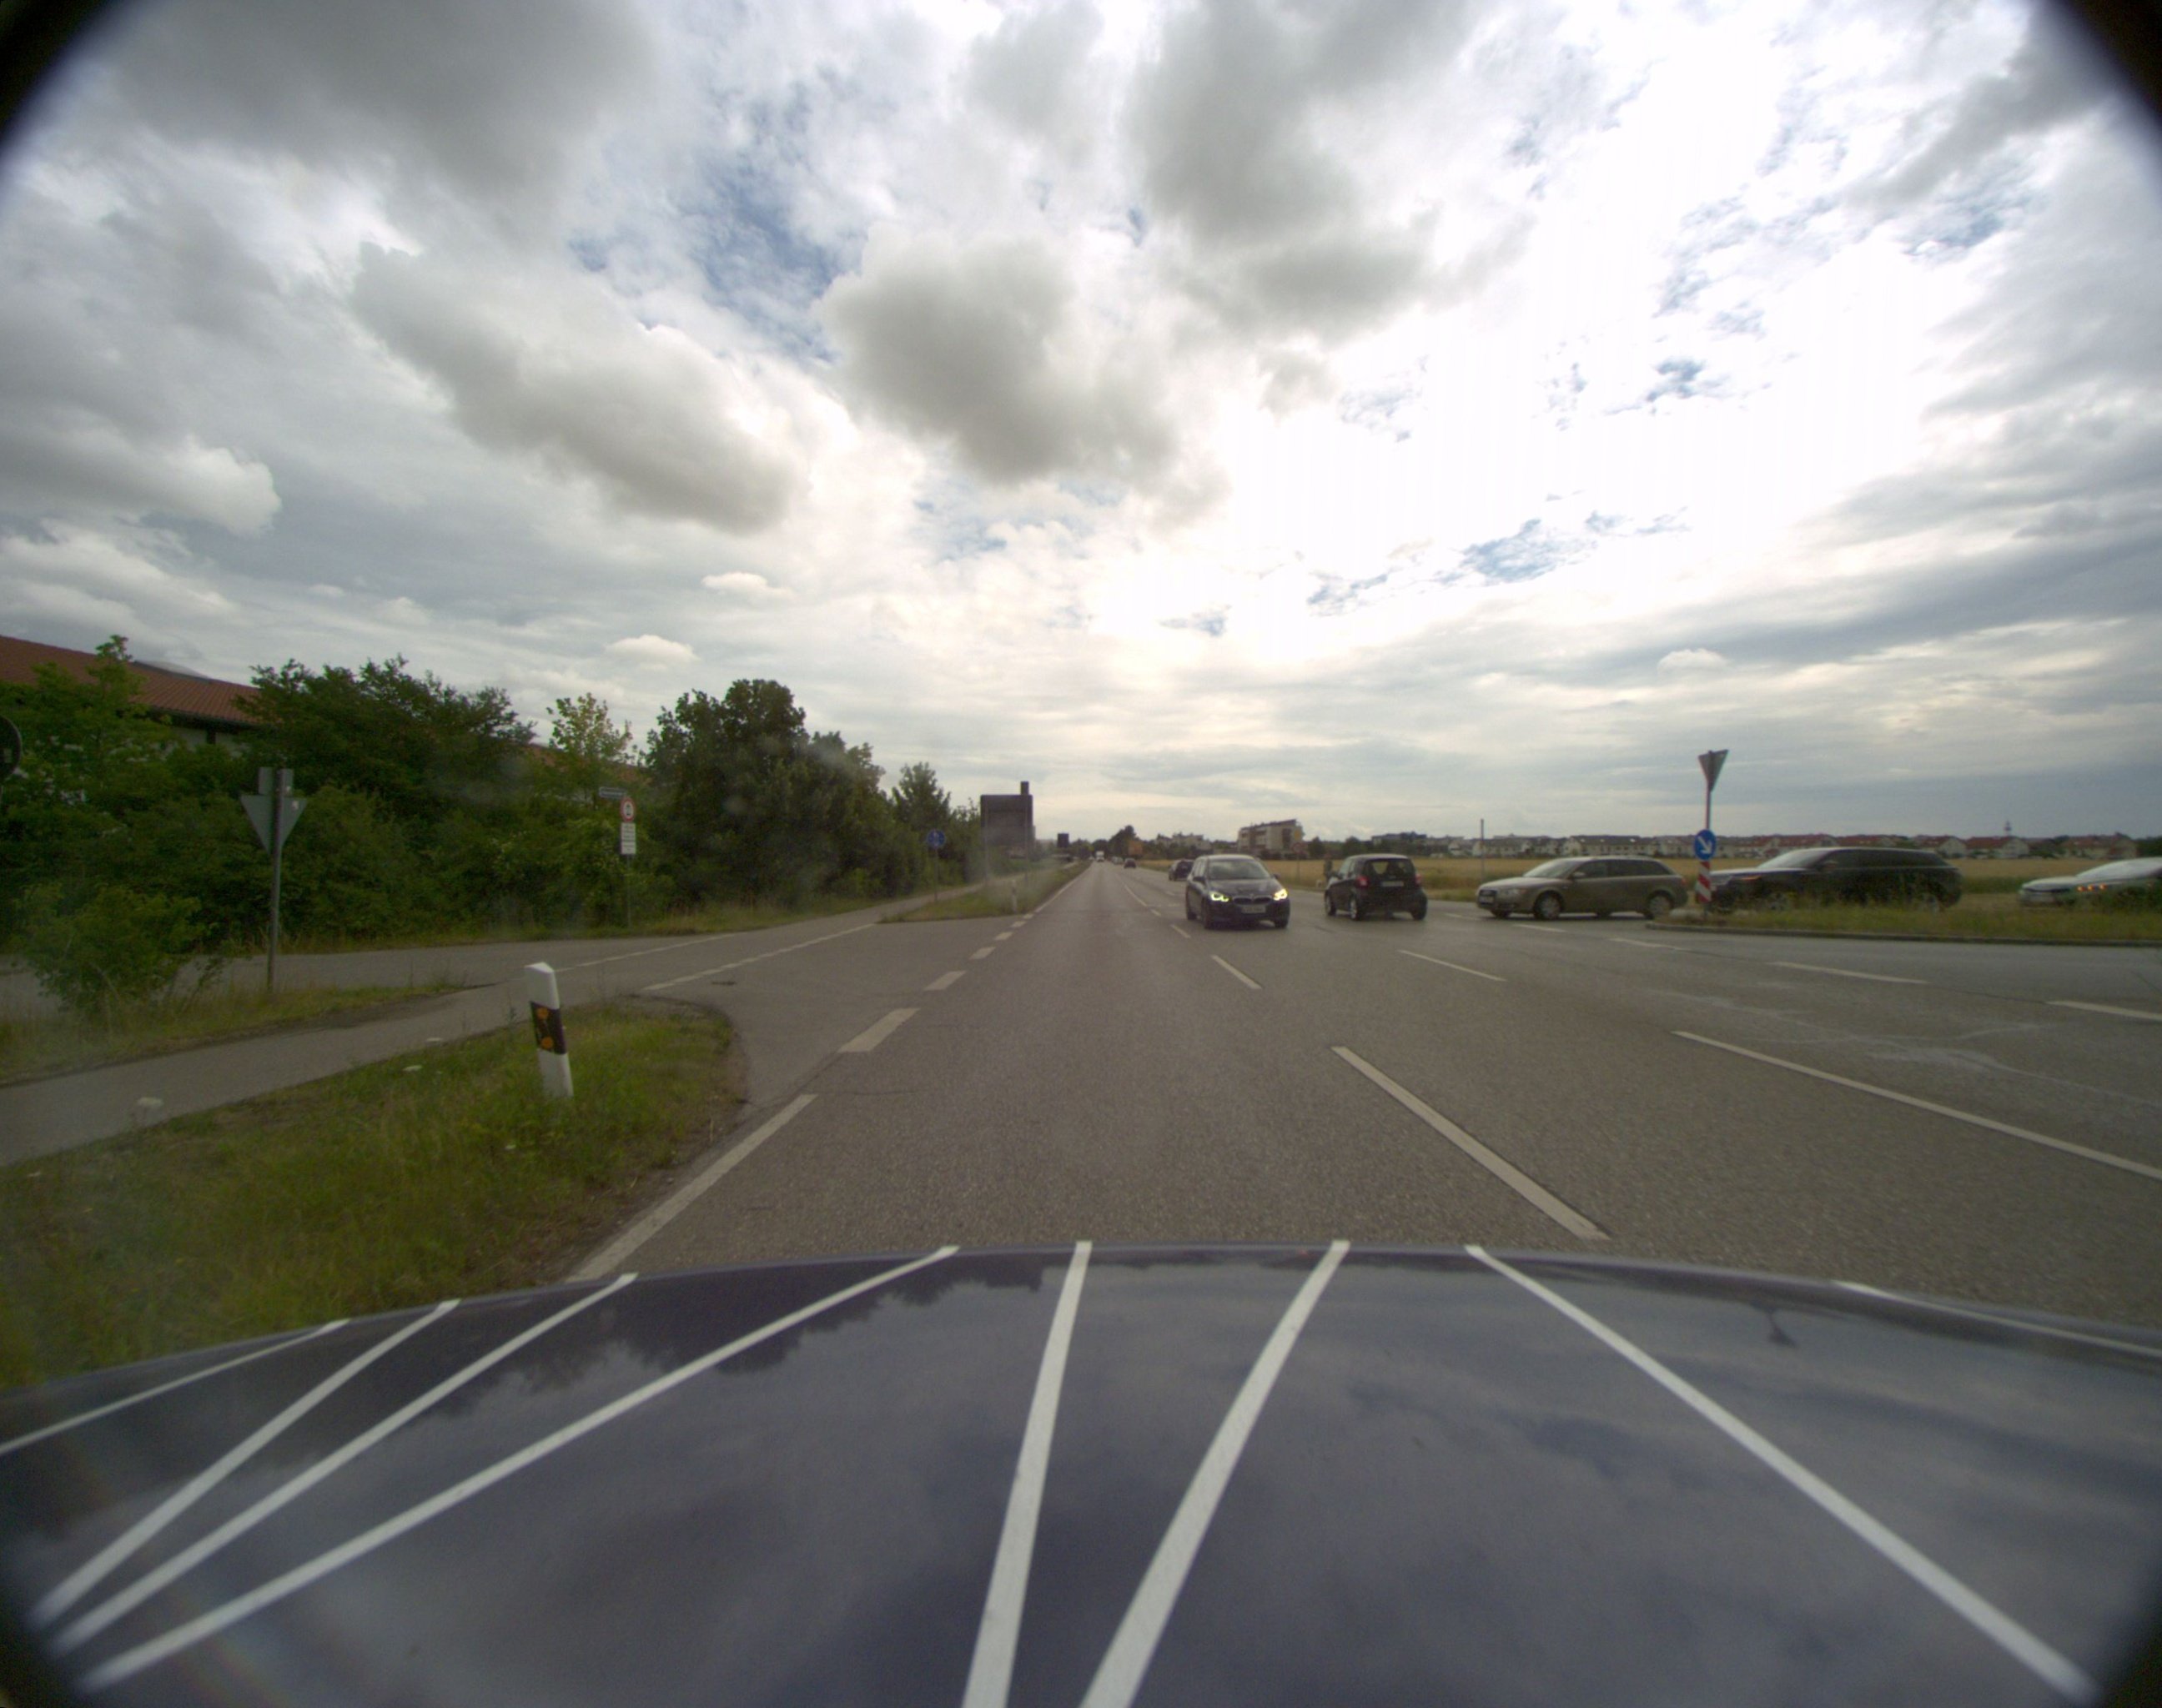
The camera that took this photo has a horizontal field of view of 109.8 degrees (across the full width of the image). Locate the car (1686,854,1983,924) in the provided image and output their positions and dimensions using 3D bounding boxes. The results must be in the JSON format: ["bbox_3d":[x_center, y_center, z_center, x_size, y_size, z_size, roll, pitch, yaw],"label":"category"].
[{"bbox_3d":[17.339,0.784,17.738,4.748,1.523,1.912,0,0,8],"label":"car"}]

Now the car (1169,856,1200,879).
[{"bbox_3d":[7.299,0.921,53.942,1.683,1.512,4.396,-2,0,1],"label":"car"}]

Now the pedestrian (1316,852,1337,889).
[{"bbox_3d":[10.933,0.731,33.883,0.594,1.596,0.866,2,0,-1],"label":"pedestrian"}]

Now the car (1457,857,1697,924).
[{"bbox_3d":[11.345,0.784,17.540,4.464,1.416,1.910,0,0,-6],"label":"car"}]

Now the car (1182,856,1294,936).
[{"bbox_3d":[3.522,0.871,17.881,1.706,1.602,4.482,-2,0,1],"label":"car"}]

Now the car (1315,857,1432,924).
[{"bbox_3d":[7.087,0.822,18.708,1.665,1.475,3.168,-2,0,1],"label":"car"}]

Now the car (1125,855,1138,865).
[{"bbox_3d":[7.633,0.839,115.340,1.740,1.450,4.131,-1,0,0],"label":"car"}]

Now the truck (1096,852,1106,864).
[{"bbox_3d":[6.383,1.335,241.358,2.813,3.588,11.220,0,0,2],"label":"truck"}]

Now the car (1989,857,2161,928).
[{"bbox_3d":[24.485,0.838,17.110,5.295,1.512,1.912,0,0,8],"label":"car"}]

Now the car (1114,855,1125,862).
[{"bbox_3d":[8.217,1.012,161.165,1.856,1.480,4.263,0,0,-3],"label":"car"}]
